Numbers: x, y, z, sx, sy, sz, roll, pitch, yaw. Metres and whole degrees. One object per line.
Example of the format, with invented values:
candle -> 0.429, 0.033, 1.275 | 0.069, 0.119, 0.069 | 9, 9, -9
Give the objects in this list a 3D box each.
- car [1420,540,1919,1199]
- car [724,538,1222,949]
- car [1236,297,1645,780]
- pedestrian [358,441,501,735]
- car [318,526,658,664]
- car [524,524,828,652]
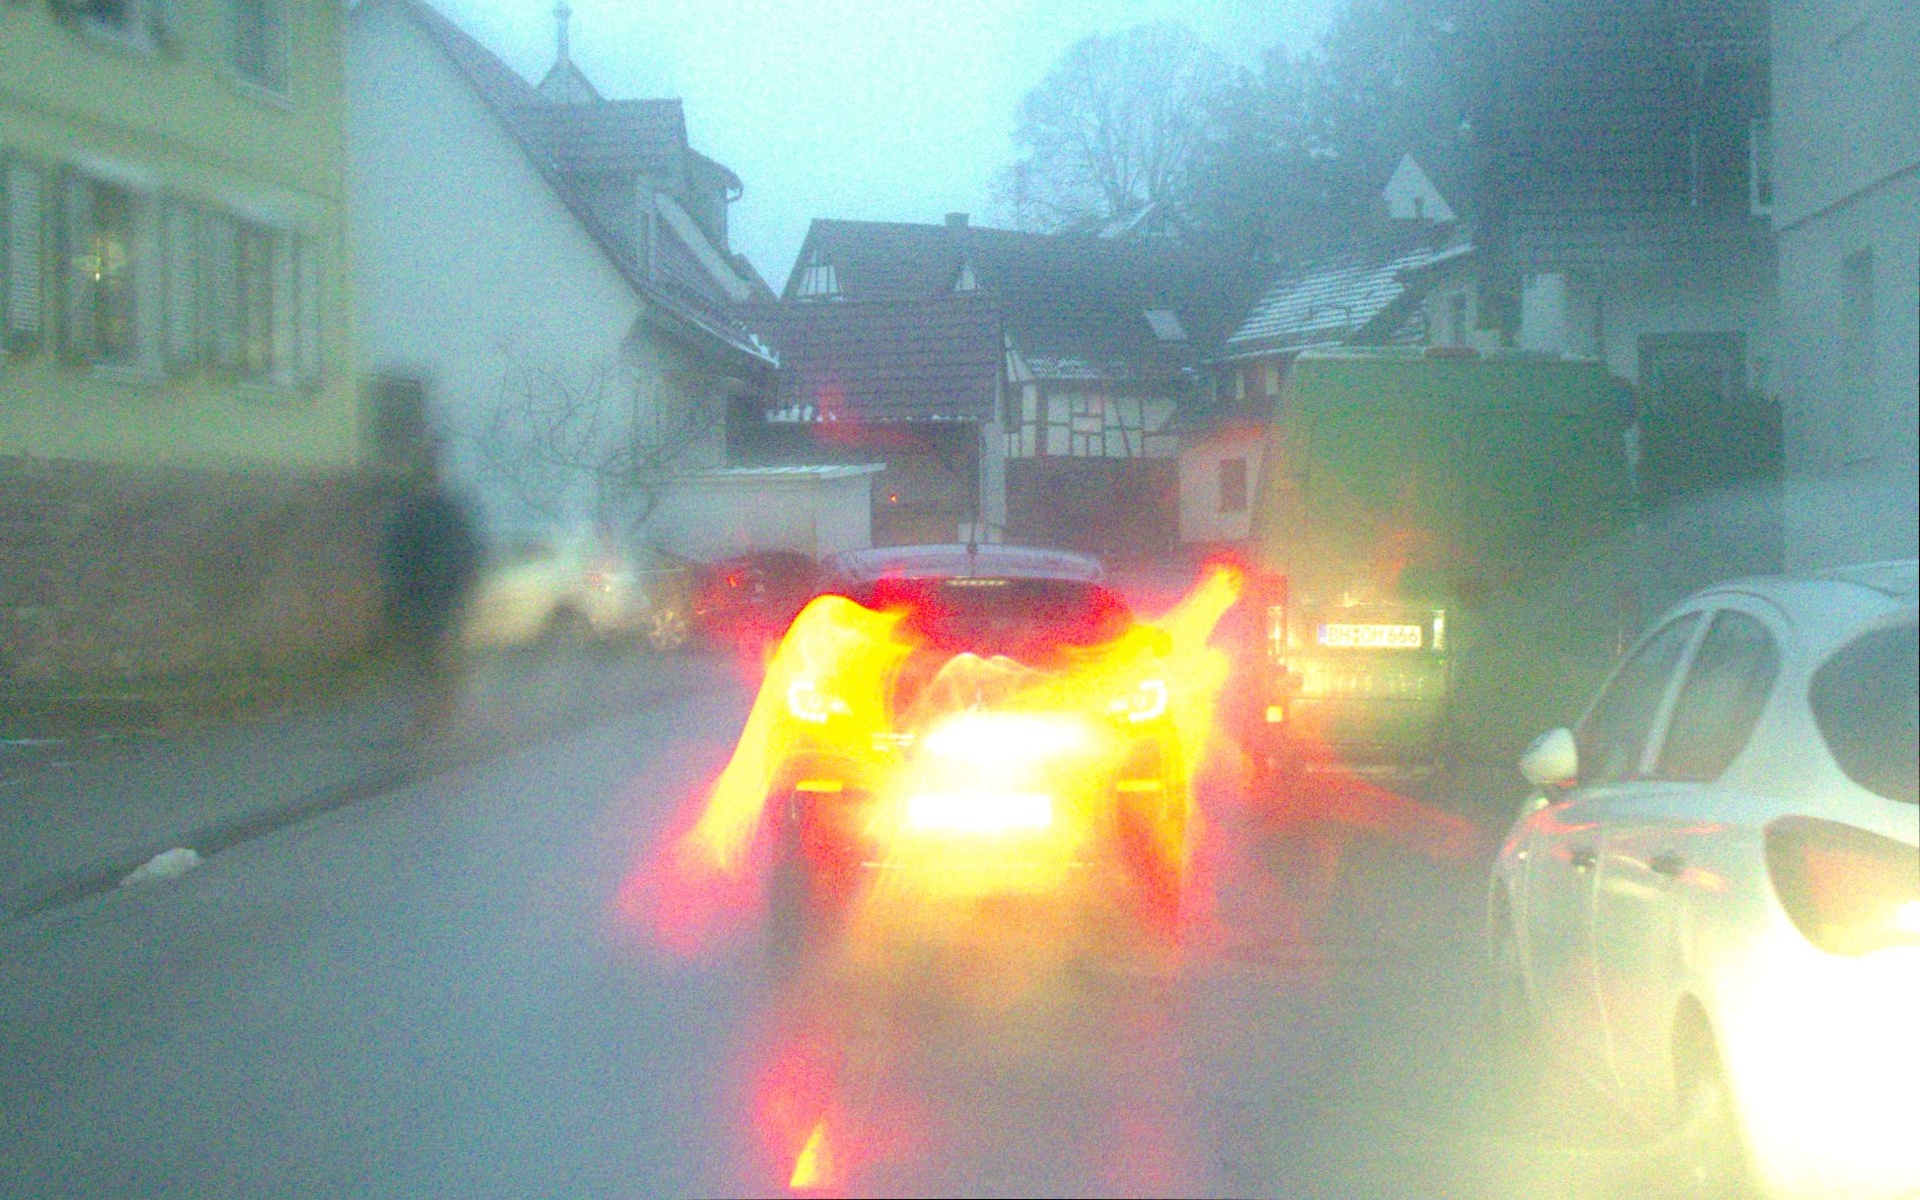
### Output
car -> 2.168, 0.622, 7.761 | 1.725, 1.502, 3.752 | 0, 1, -1
car -> 0.049, 0.492, 14.600 | 1.795, 1.471, 4.000 | 1, 1, 0
car -> 2.540, -0.342, 19.002 | 1.814, 2.405, 3.751 | 0, 1, 1
pedestrian -> -3.680, -0.090, 23.905 | 0.873, 2.007, 0.795 | 0, 1, 0
car -> -5.320, -0.075, 38.964 | 3.508, 1.502, 1.692 | 0, 1, 7
car -> -3.404, -0.163, 41.631 | 3.507, 1.502, 1.692 | 0, 1, 1
